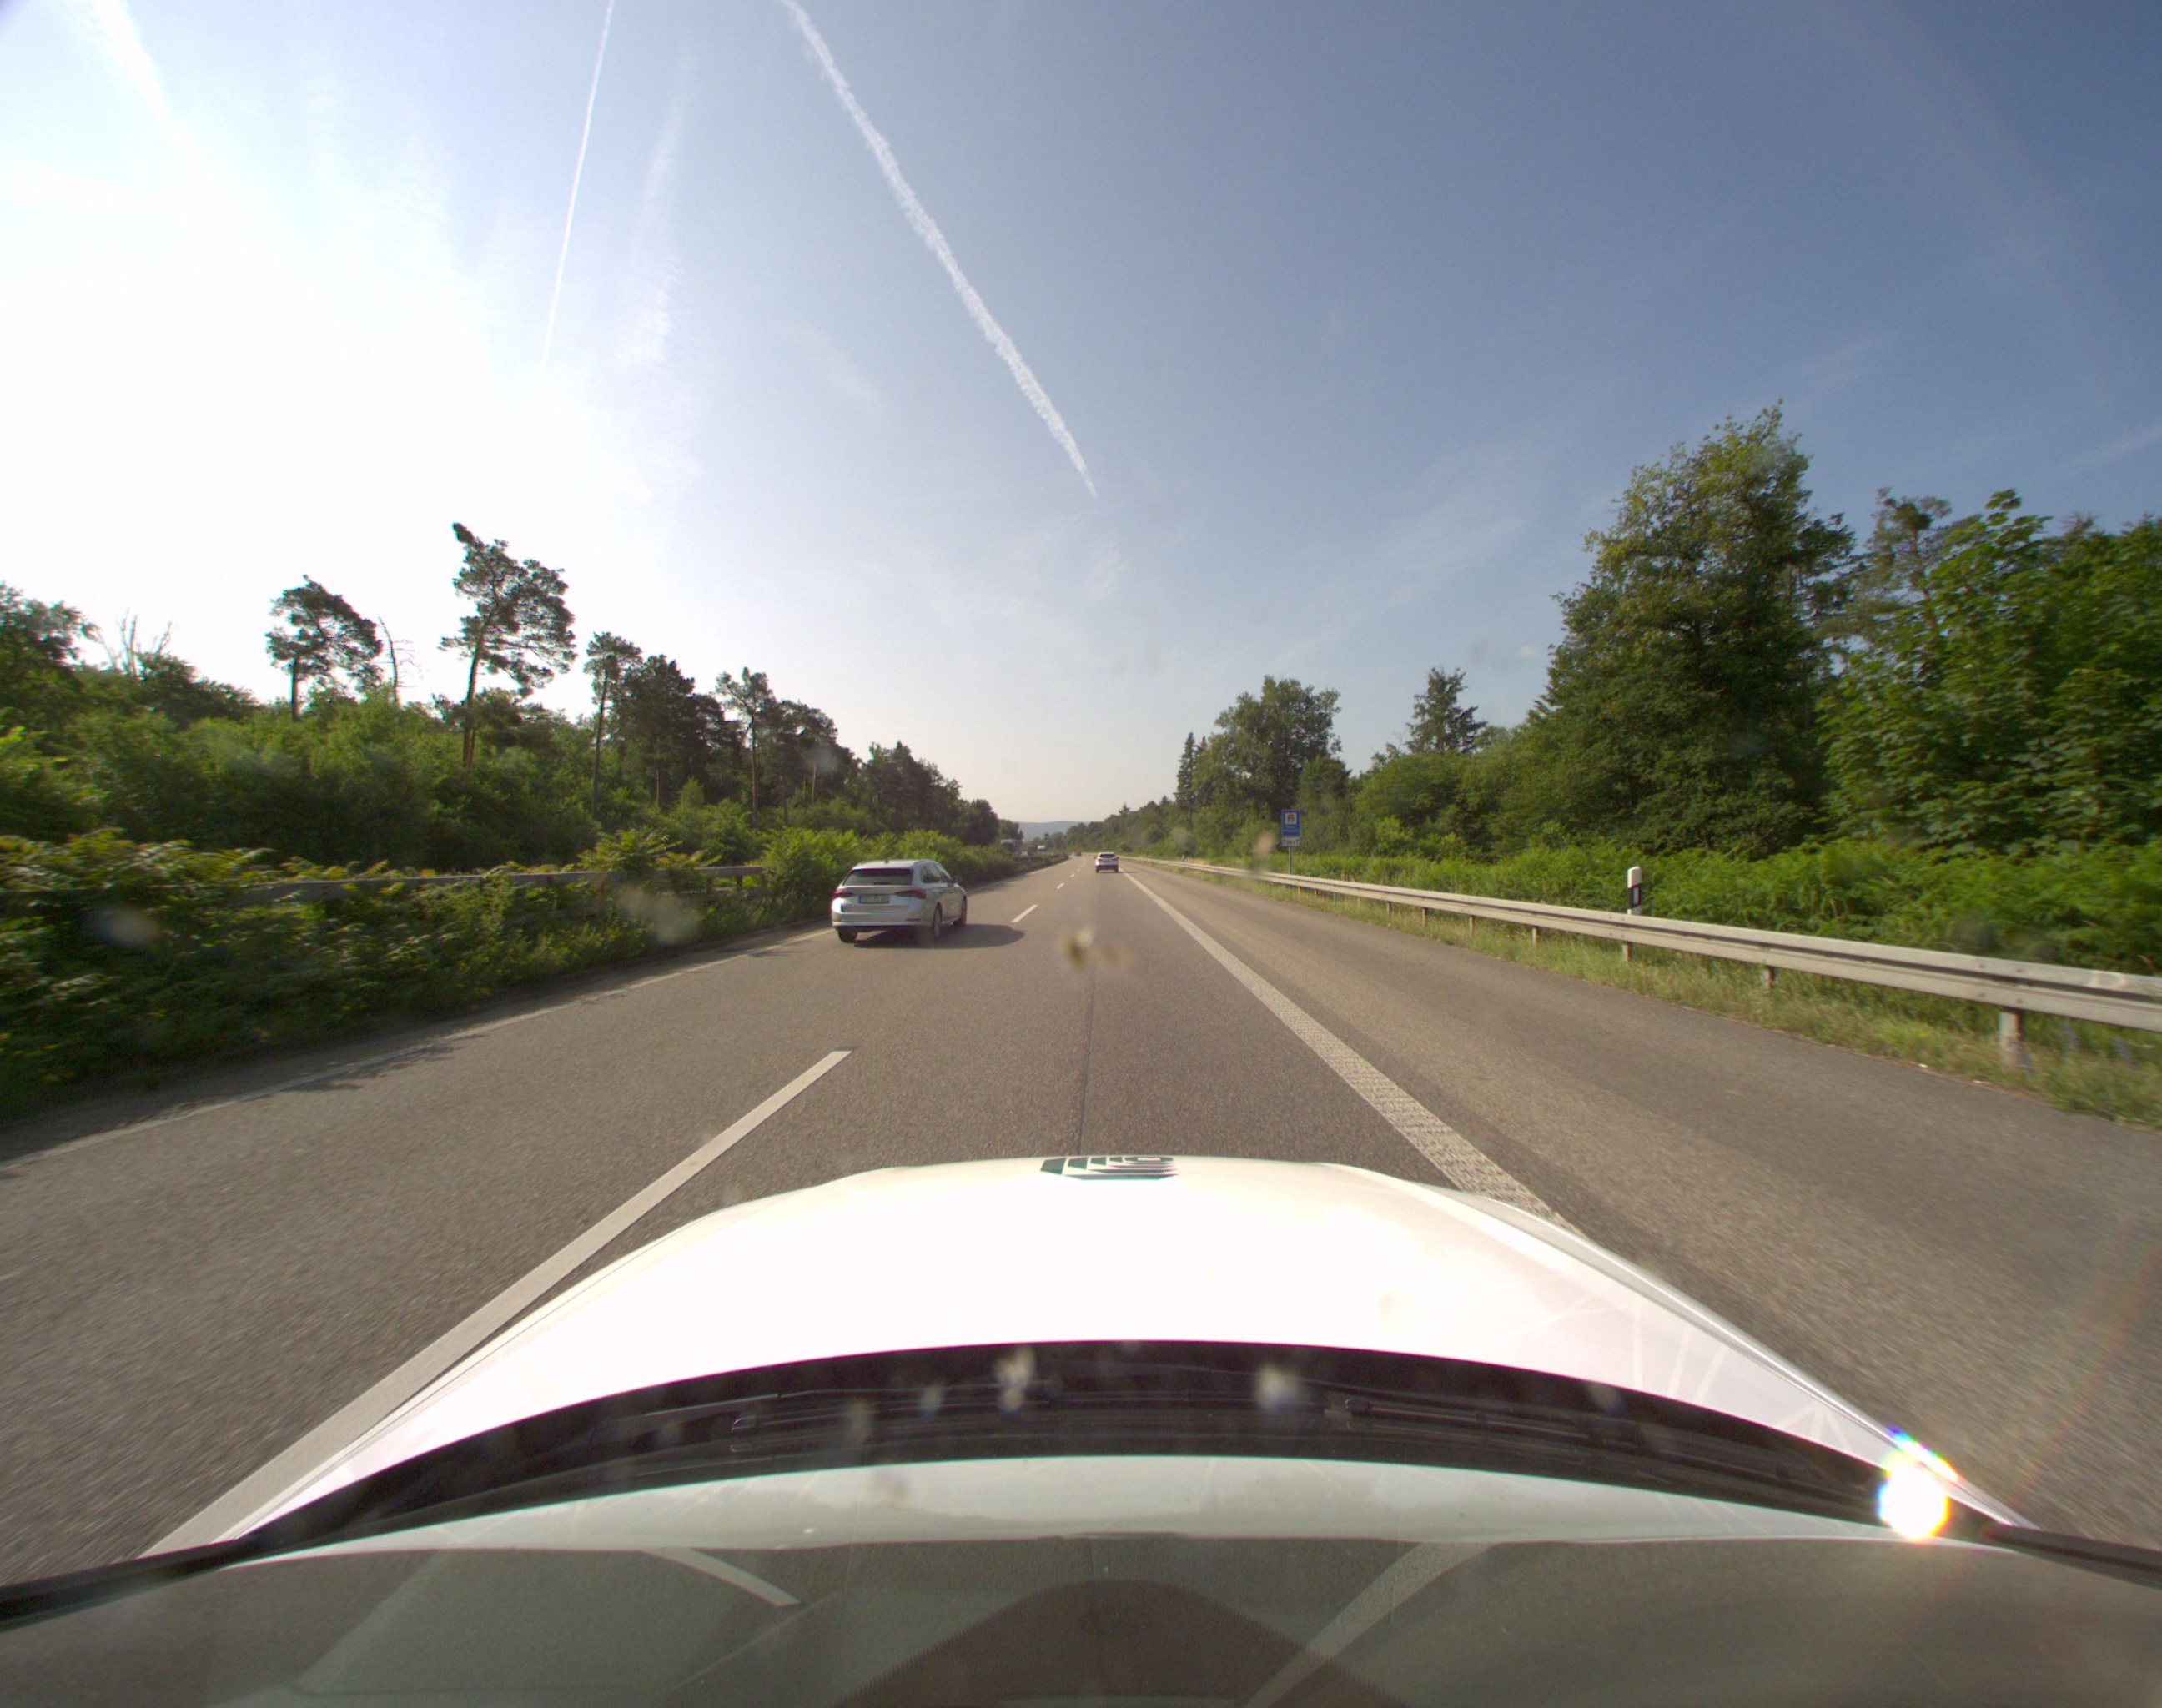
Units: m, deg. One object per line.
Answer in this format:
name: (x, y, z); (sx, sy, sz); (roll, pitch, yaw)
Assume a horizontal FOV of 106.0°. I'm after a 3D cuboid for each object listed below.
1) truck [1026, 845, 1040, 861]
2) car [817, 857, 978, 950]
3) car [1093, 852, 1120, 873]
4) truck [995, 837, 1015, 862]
truck: (-12.787, -0.211, 218.393); (3.256, 4.039, 6.232); (-1, 0, 0)
car: (-3.356, 0.822, 16.047); (1.785, 1.438, 5.280); (-2, 0, 2)
car: (1.996, 0.637, 65.293); (1.868, 1.586, 3.997); (1, 0, -2)
truck: (-13.084, -0.748, 140.881); (2.700, 4.200, 6.294); (-2, 0, 1)
